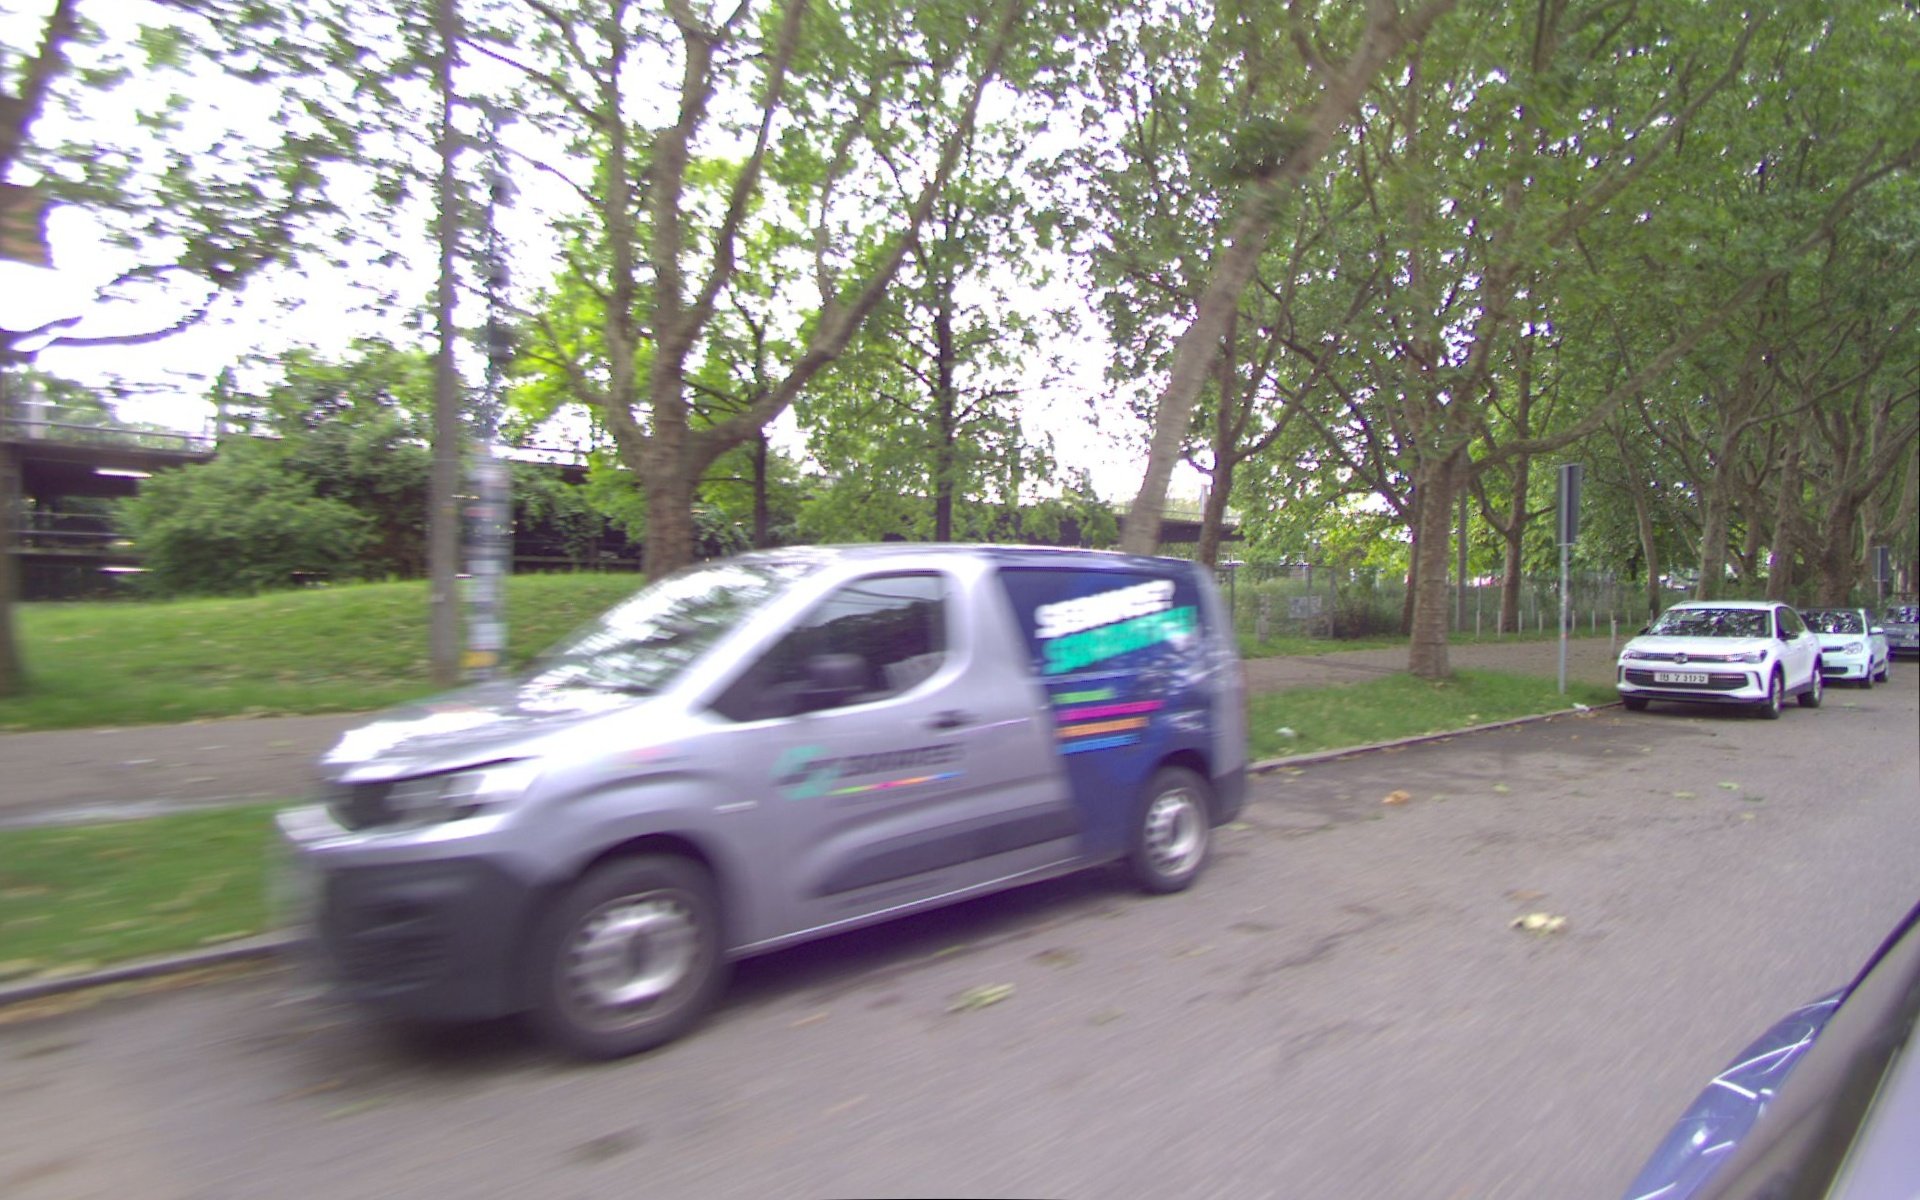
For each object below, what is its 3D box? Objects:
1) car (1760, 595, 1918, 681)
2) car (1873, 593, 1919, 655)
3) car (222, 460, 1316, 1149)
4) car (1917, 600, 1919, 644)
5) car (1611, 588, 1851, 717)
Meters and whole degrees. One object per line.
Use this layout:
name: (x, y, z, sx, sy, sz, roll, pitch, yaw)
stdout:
car: (17.861, 0.695, 20.511, 4.023, 1.545, 1.811, 0, 1, -40)
car: (28.437, 0.681, 29.646, 4.649, 1.701, 1.985, 0, 1, -41)
car: (-0.438, 0.536, 5.035, 5.119, 1.805, 1.851, 0, 0, -40)
car: (33.912, 0.769, 34.120, 4.399, 1.445, 1.881, 0, 1, -40)
car: (11.752, 0.664, 15.313, 4.665, 1.638, 1.918, 0, 1, -40)
